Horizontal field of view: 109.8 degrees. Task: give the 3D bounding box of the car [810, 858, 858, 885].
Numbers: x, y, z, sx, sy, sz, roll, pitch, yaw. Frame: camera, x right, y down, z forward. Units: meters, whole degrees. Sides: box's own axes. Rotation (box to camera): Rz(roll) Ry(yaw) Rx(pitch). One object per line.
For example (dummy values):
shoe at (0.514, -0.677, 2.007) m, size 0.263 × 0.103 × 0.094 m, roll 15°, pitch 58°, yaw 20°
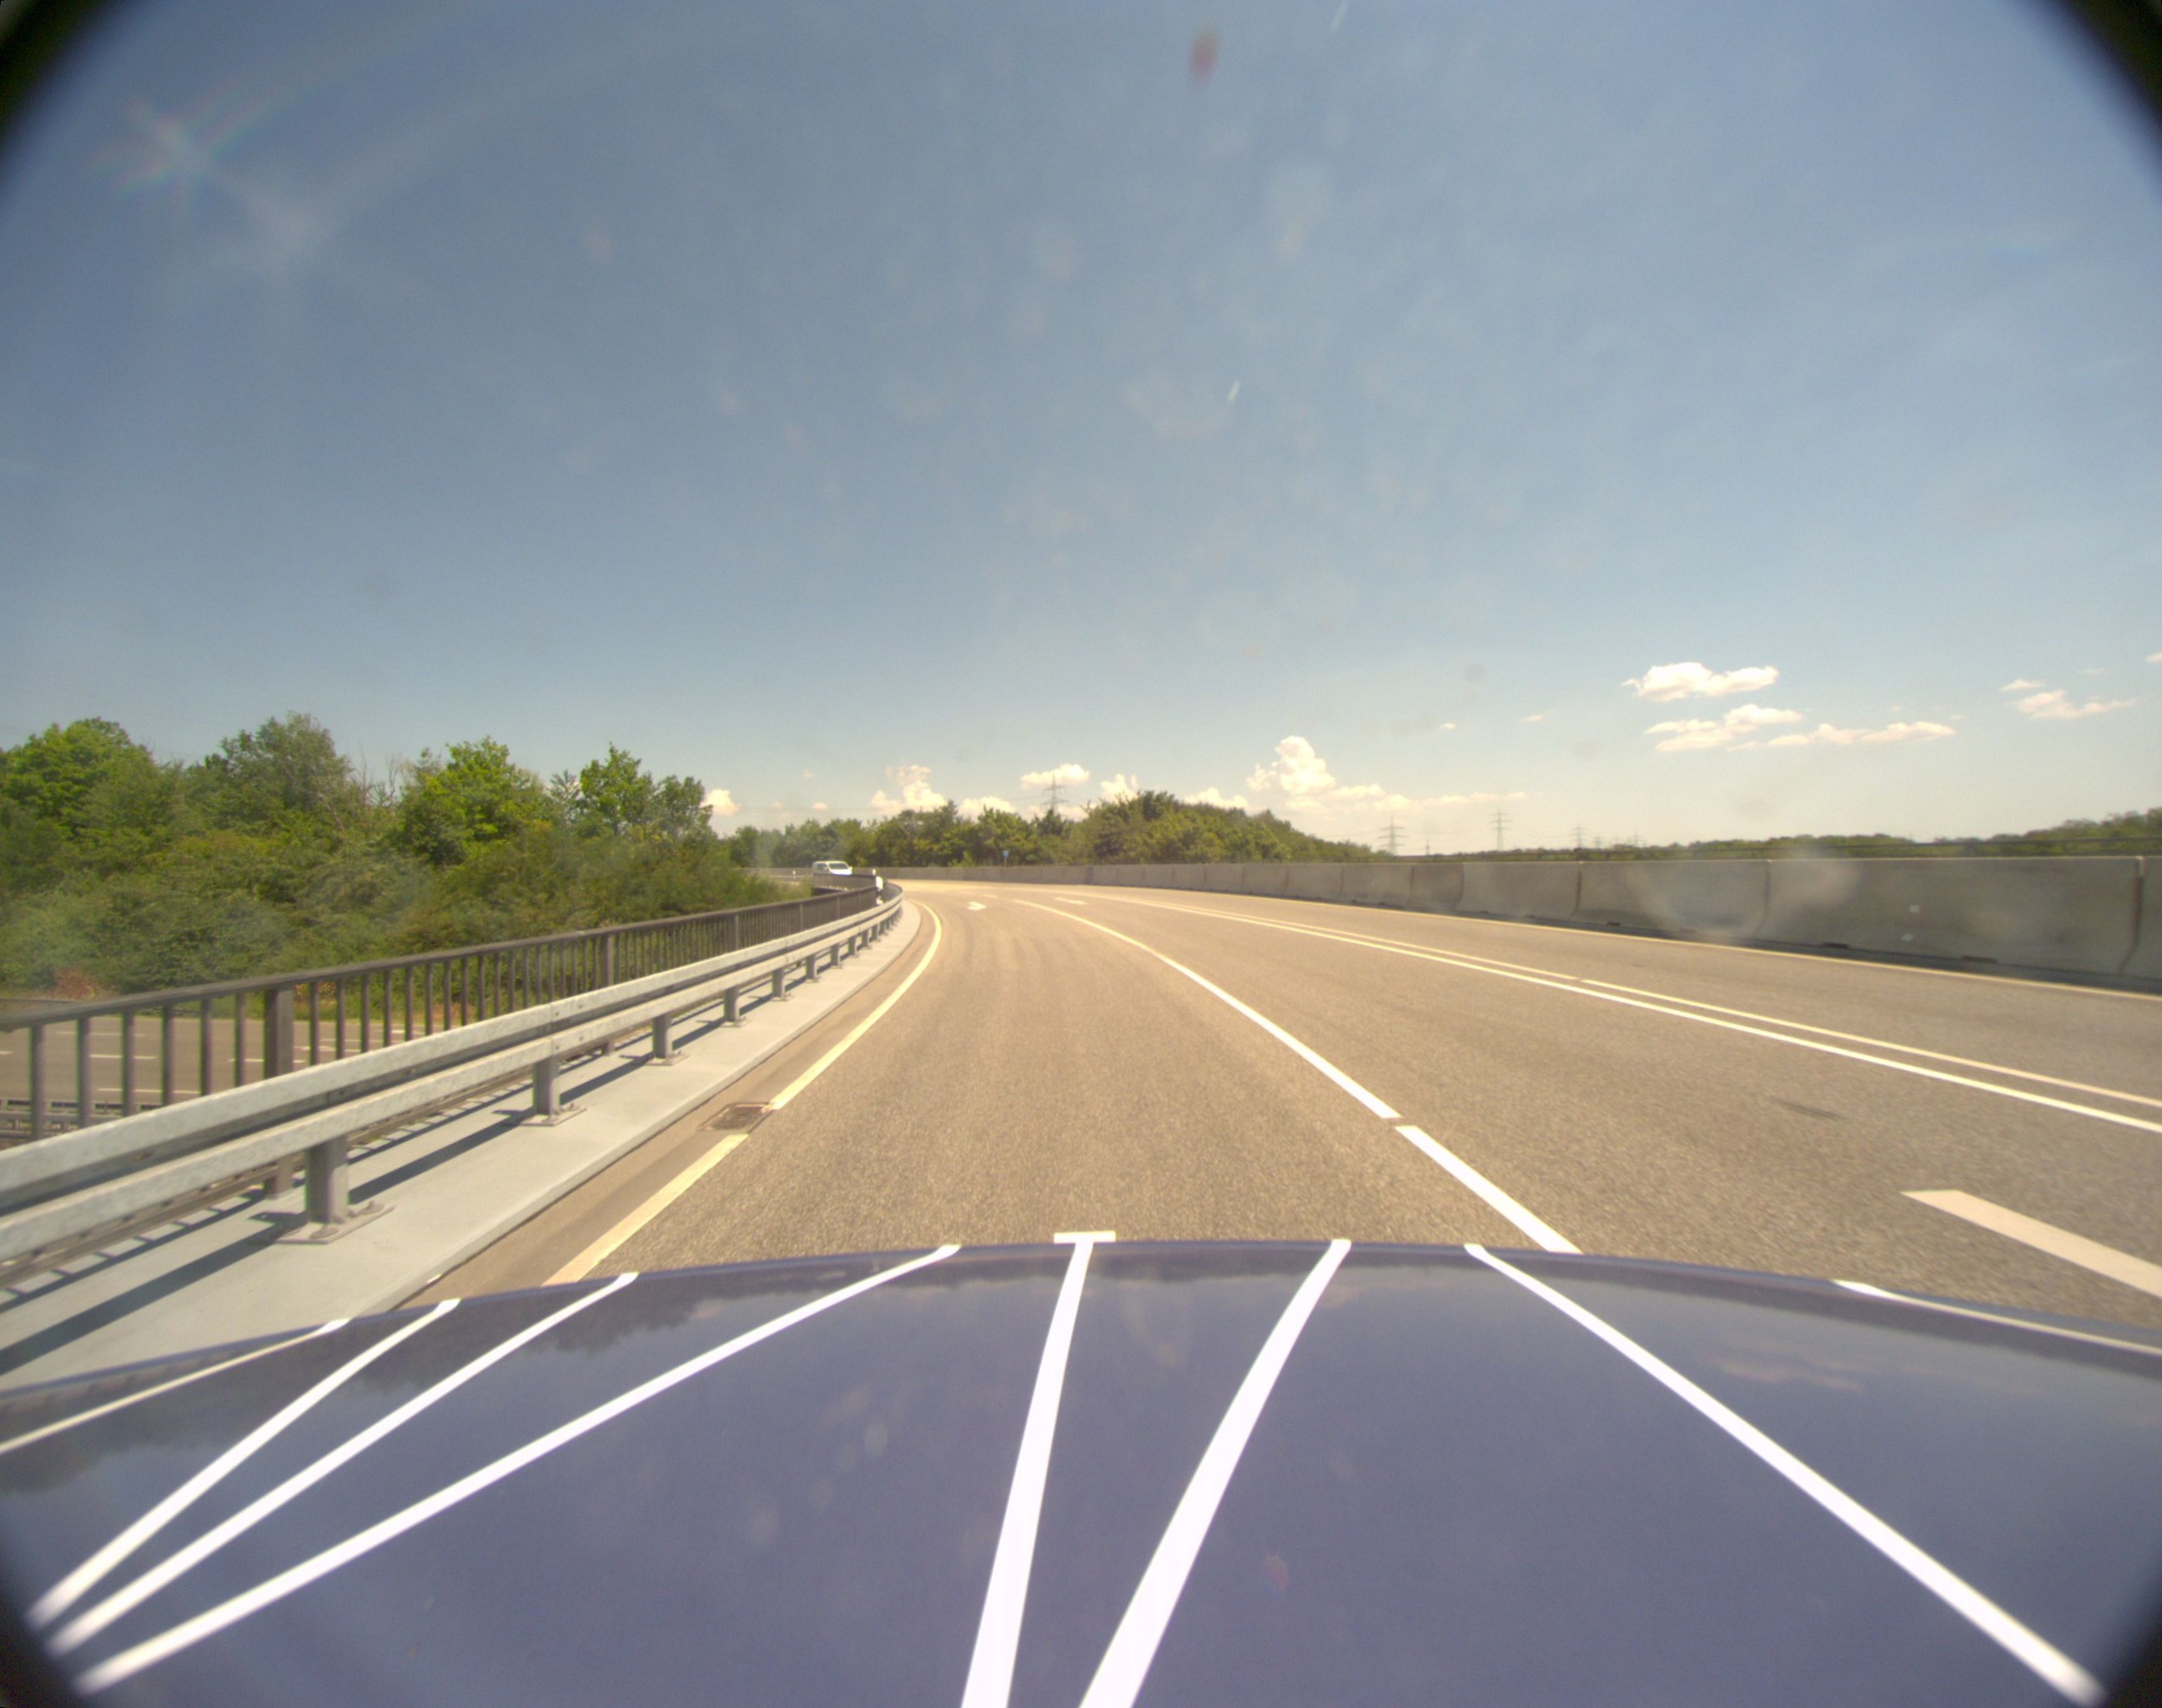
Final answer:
car at (-20.600, 1.378, 63.139) m, size 2.036 × 2.072 × 5.856 m, roll -1°, pitch 1°, yaw -36°
